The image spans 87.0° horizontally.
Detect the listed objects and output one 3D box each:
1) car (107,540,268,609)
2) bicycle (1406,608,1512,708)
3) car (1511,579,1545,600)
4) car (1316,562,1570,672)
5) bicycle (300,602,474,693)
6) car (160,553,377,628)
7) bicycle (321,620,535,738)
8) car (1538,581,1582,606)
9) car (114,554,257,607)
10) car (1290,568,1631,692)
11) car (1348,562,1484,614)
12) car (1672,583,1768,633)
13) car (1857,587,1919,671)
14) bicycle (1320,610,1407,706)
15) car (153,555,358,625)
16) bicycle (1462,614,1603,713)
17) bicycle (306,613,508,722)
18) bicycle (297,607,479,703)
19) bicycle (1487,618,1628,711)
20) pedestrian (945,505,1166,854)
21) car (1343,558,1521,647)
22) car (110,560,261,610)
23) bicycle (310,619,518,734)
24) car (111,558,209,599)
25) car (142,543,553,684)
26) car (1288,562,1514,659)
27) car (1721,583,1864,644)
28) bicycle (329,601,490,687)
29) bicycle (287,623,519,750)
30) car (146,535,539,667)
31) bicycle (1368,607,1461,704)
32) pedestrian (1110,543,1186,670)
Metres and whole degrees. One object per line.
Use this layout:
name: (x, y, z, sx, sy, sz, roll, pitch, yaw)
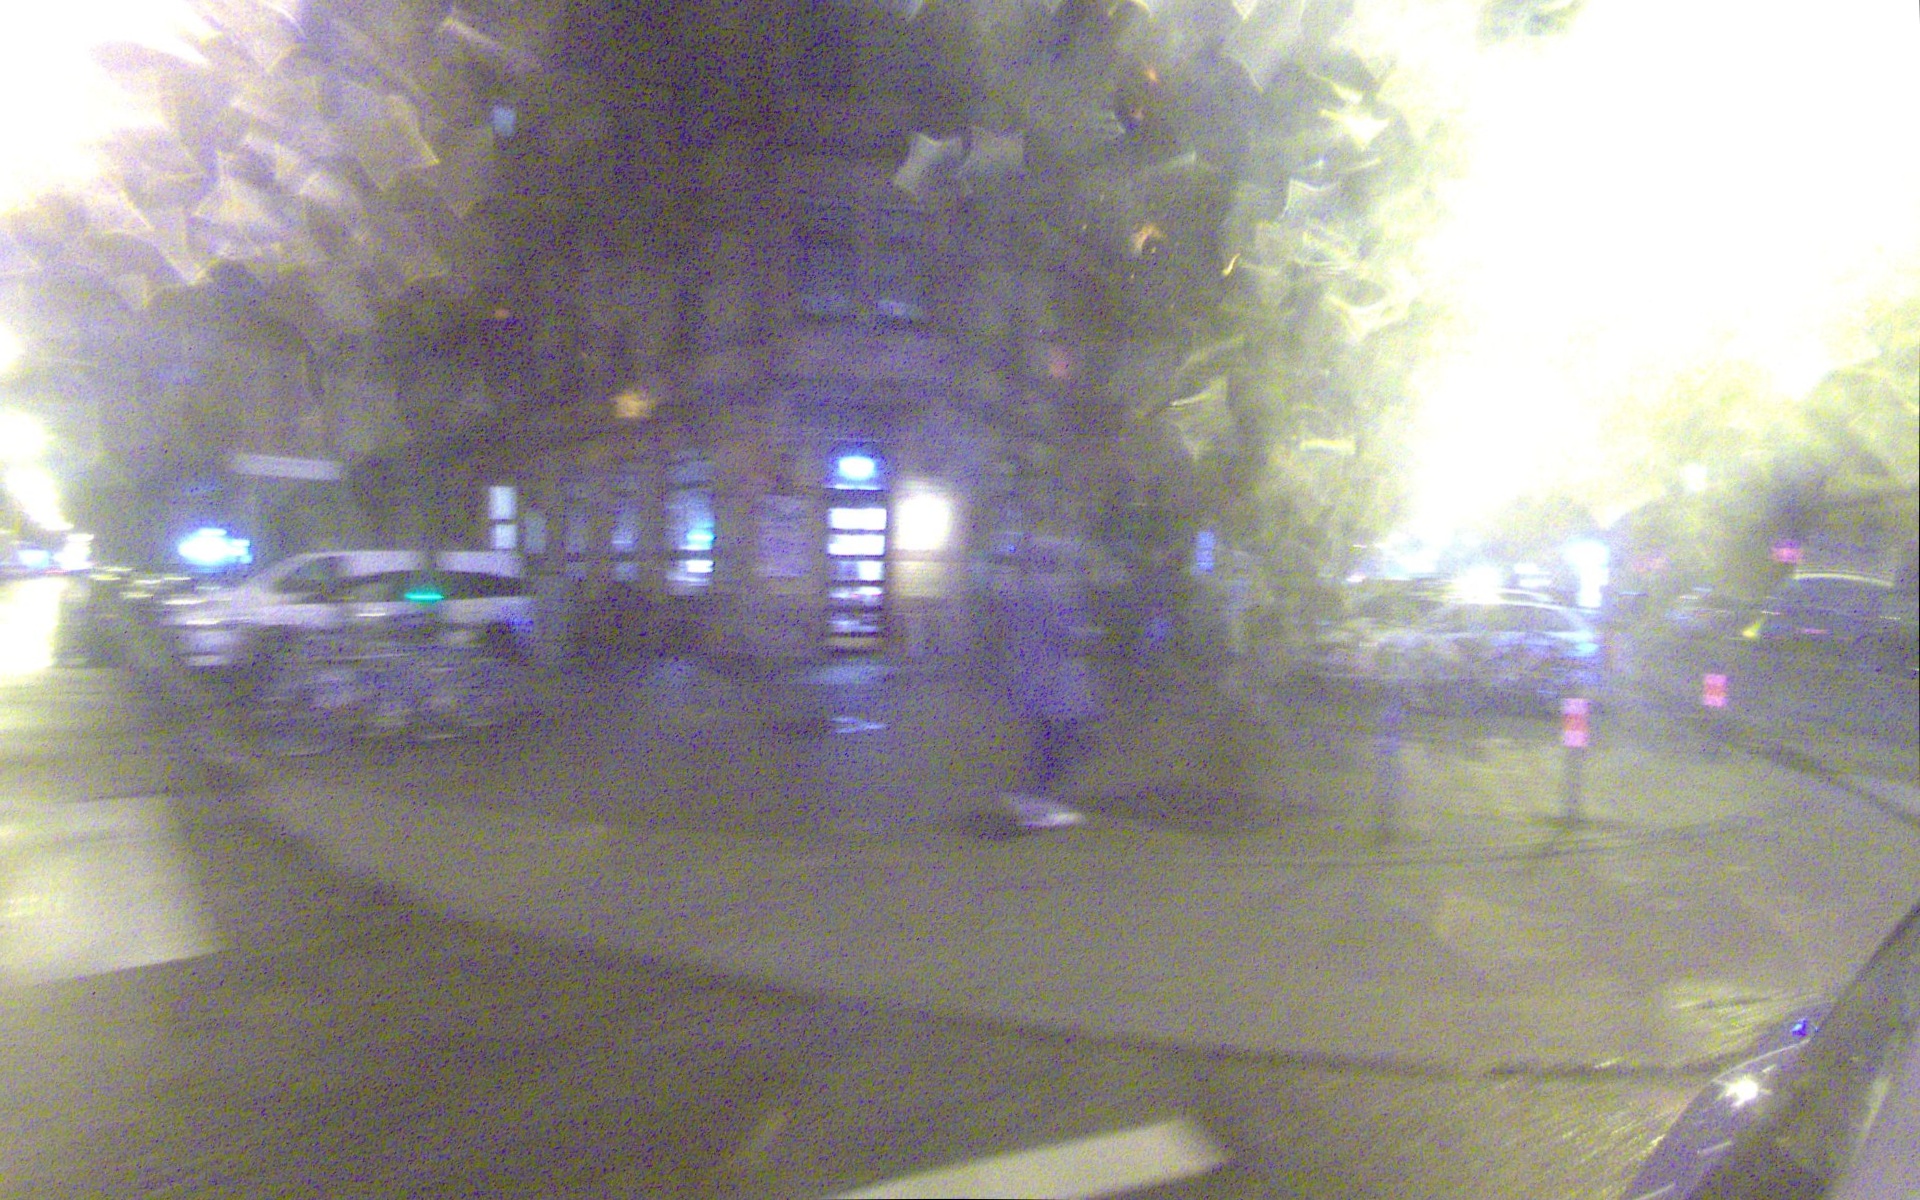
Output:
car: (-24.411, -0.806, 32.126, 3.927, 2.039, 1.998, -2, 0, -38)
bicycle: (6.273, 0.698, 12.814, 0.329, 1.038, 1.650, 0, 5, -7)
car: (43.820, -0.813, 78.168, 1.832, 1.600, 3.706, -1, 1, 23)
car: (8.516, 0.272, 17.982, 3.662, 1.733, 1.776, 2, 2, -11)
bicycle: (-6.879, 0.547, 12.216, 1.779, 1.021, 0.403, 0, 1, -42)
car: (-17.828, -0.260, 26.215, 4.389, 1.784, 1.995, -1, 1, -44)
bicycle: (-5.080, 0.719, 9.753, 1.779, 1.021, 0.403, 0, 1, -42)
car: (37.218, -0.408, 62.884, 1.832, 1.497, 3.706, -1, 1, 23)
car: (-27.524, -0.708, 36.088, 3.927, 1.795, 1.999, -2, 1, -38)
car: (7.371, 0.413, 15.165, 4.178, 1.593, 1.774, 2, 2, -5)
car: (18.511, -0.504, 41.177, 4.617, 2.004, 1.982, 0, 2, -5)
car: (24.426, 0.205, 32.642, 1.703, 1.497, 3.753, -1, 1, 25)
car: (18.304, 0.544, 18.132, 1.832, 1.497, 4.992, 0, 1, 23)
bicycle: (5.076, 0.702, 12.823, 0.329, 1.039, 1.648, 2, 2, -3)
car: (-19.342, -0.284, 27.899, 4.389, 1.784, 1.995, -1, 1, -44)
bicycle: (7.123, 0.761, 12.684, 0.329, 1.039, 1.651, 2, 3, -21)
bicycle: (-5.653, 0.658, 10.426, 1.779, 1.021, 0.403, 0, 1, -42)
bicycle: (-6.588, 0.603, 11.725, 1.779, 1.021, 0.403, 0, 1, -42)
bicycle: (7.592, 0.786, 12.944, 0.329, 1.039, 1.650, 2, 1, -23)
pedestrian: (0.552, 0.410, 6.000, 0.964, 1.856, 0.880, 0, 1, -30)
car: (11.857, 0.036, 25.497, 3.662, 2.053, 1.725, 2, 1, -11)
car: (-26.144, -0.512, 34.300, 3.927, 1.571, 1.999, -2, 1, -38)
bicycle: (-5.388, 0.720, 10.069, 1.779, 1.021, 0.379, 0, 1, -42)
car: (-41.503, -1.101, 52.562, 3.929, 2.039, 1.998, 0, 1, -40)
car: (-9.010, 0.134, 15.226, 5.012, 1.784, 1.995, -1, 1, -44)
car: (8.719, 0.190, 20.154, 3.714, 1.733, 1.752, 2, 2, -11)
car: (22.506, 0.309, 27.558, 1.700, 1.497, 4.133, 0, 1, 20)
bicycle: (-6.970, 0.533, 12.877, 1.747, 1.021, 0.403, 0, 1, -42)
bicycle: (-4.997, 0.735, 9.163, 1.779, 1.021, 0.454, 0, 1, -42)
car: (-10.314, -0.023, 17.272, 5.456, 1.913, 1.995, -1, 1, -44)
bicycle: (5.740, 0.663, 12.861, 0.329, 1.106, 1.647, 2, 1, -3)
pedestrian: (2.810, 0.068, 15.139, 0.797, 1.839, 0.790, -2, 3, -42)
